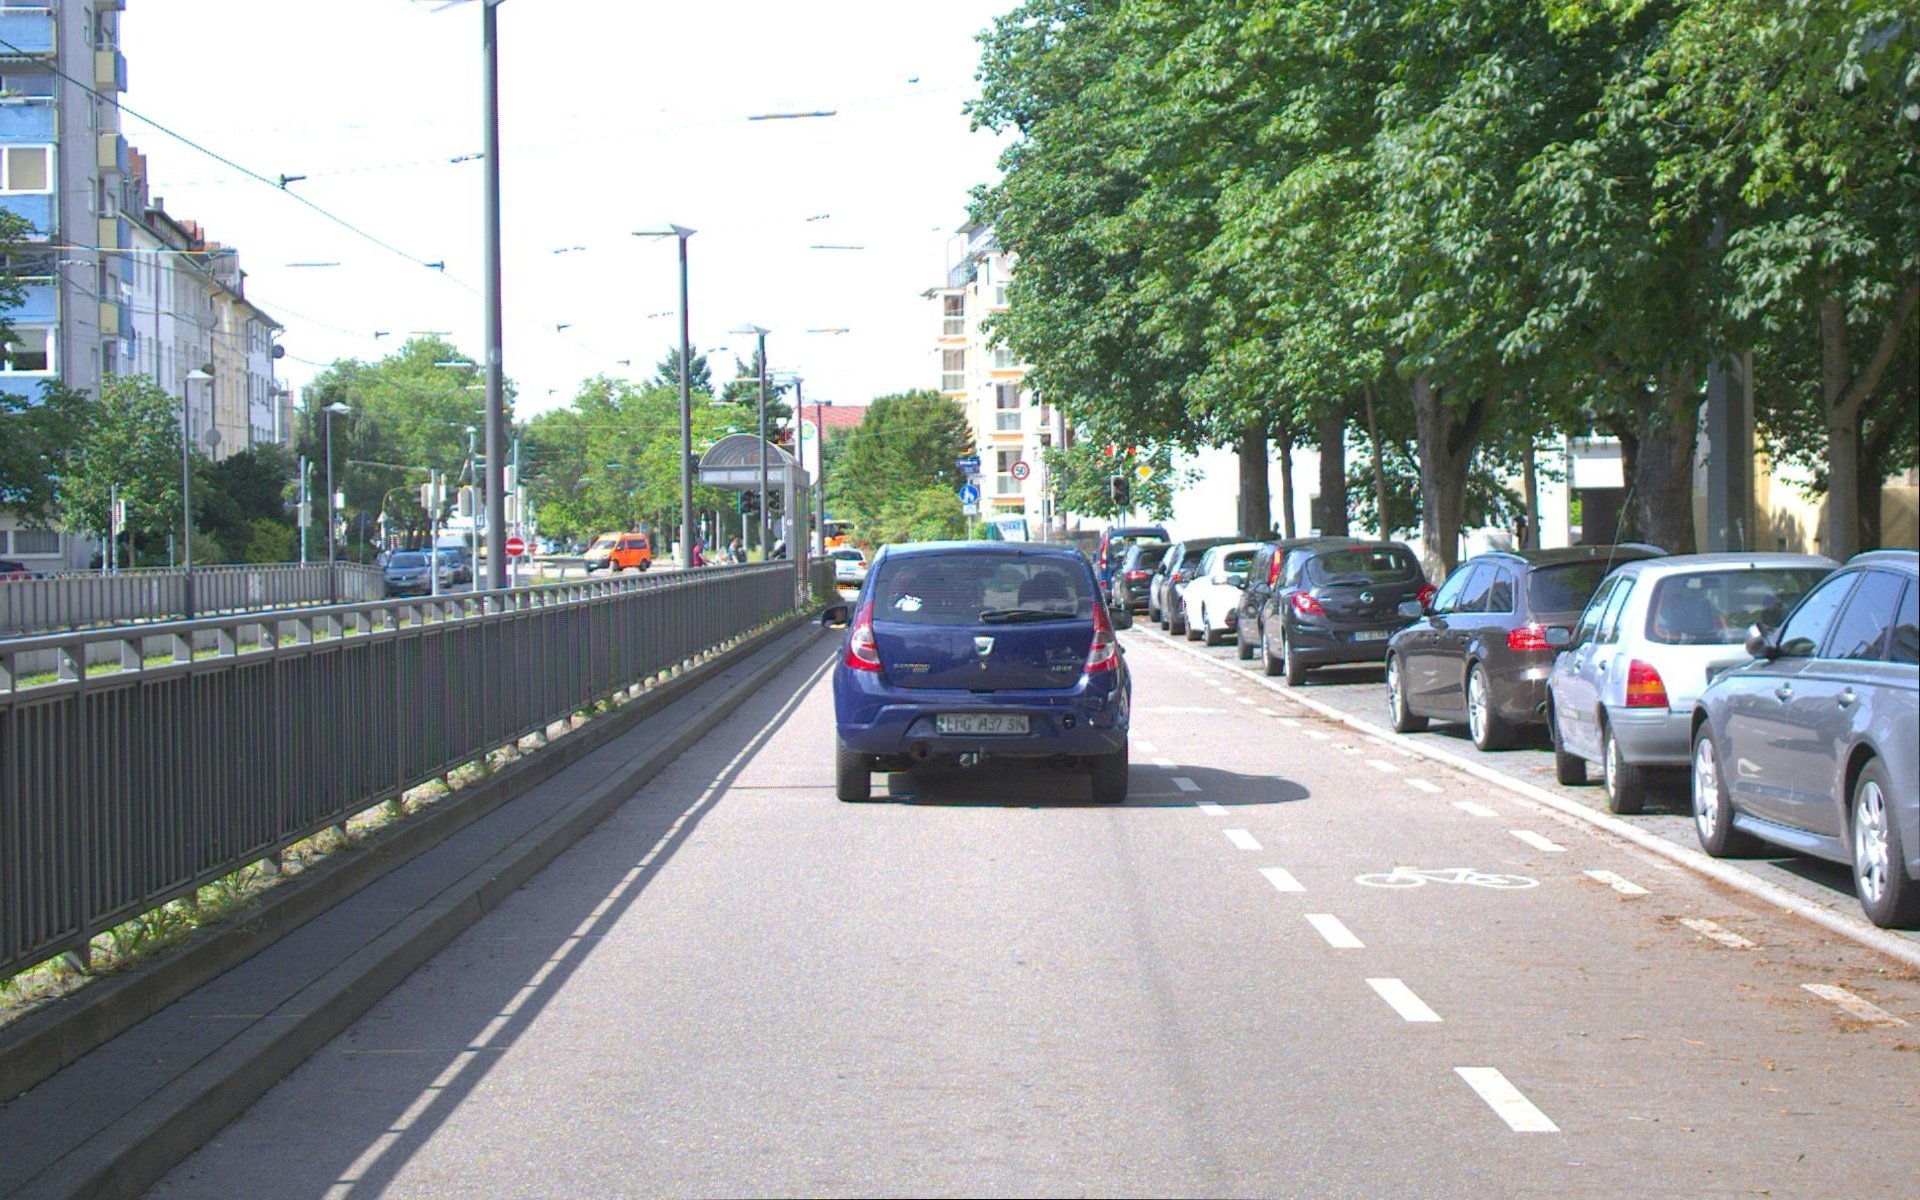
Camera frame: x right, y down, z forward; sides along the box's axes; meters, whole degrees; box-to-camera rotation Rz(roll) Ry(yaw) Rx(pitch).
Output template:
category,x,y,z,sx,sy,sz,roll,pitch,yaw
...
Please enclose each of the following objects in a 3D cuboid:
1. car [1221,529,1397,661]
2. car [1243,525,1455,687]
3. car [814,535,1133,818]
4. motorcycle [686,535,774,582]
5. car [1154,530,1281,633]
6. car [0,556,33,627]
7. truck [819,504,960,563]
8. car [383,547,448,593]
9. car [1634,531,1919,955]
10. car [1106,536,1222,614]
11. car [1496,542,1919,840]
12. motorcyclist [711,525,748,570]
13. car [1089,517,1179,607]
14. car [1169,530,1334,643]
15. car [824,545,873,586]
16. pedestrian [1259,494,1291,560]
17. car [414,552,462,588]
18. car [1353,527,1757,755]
category,x,y,z,sx,sy,sz,roll,pitch,yaw
car,4.291,-0.063,42.690,1.555,1.456,3.559,-4,0,-3
car,4.176,0.028,37.495,1.690,1.556,4.308,-4,1,0
car,0.042,0.387,21.059,1.744,1.501,4.001,1,2,-1
motorcycle,-6.873,-1.238,102.549,2.508,1.335,1.018,-2,1,-9
car,4.224,-0.348,57.027,1.725,1.578,4.677,-2,1,0
car,-22.842,-0.173,77.084,3.655,1.574,1.649,-2,1,-31
truck,-4.388,-4.136,214.195,8.353,3.175,2.605,-4,1,-8
car,-20.003,-1.108,126.439,1.993,1.639,4.001,1,0,-4
car,4.362,0.468,14.746,1.829,1.436,5.050,-4,1,0
car,4.195,-0.541,71.441,1.917,1.437,4.797,-3,1,-1
car,4.215,0.443,19.956,1.636,1.426,4.015,-3,1,2
motorcyclist,-6.870,-1.563,102.539,0.983,1.335,0.942,-1,1,-10
car,3.864,-0.873,76.795,1.823,1.889,4.184,-2,1,1
car,4.318,-0.230,51.428,1.835,1.518,4.254,-3,1,-3
car,-4.132,-1.264,126.744,1.622,1.460,3.511,1,0,-5
pedestrian,8.192,-1.901,89.471,0.744,1.690,0.767,-1,1,1
car,-21.618,-1.236,142.375,1.768,1.437,4.001,1,0,-6
car,4.346,0.277,25.898,1.831,1.462,4.832,-3,0,-4
